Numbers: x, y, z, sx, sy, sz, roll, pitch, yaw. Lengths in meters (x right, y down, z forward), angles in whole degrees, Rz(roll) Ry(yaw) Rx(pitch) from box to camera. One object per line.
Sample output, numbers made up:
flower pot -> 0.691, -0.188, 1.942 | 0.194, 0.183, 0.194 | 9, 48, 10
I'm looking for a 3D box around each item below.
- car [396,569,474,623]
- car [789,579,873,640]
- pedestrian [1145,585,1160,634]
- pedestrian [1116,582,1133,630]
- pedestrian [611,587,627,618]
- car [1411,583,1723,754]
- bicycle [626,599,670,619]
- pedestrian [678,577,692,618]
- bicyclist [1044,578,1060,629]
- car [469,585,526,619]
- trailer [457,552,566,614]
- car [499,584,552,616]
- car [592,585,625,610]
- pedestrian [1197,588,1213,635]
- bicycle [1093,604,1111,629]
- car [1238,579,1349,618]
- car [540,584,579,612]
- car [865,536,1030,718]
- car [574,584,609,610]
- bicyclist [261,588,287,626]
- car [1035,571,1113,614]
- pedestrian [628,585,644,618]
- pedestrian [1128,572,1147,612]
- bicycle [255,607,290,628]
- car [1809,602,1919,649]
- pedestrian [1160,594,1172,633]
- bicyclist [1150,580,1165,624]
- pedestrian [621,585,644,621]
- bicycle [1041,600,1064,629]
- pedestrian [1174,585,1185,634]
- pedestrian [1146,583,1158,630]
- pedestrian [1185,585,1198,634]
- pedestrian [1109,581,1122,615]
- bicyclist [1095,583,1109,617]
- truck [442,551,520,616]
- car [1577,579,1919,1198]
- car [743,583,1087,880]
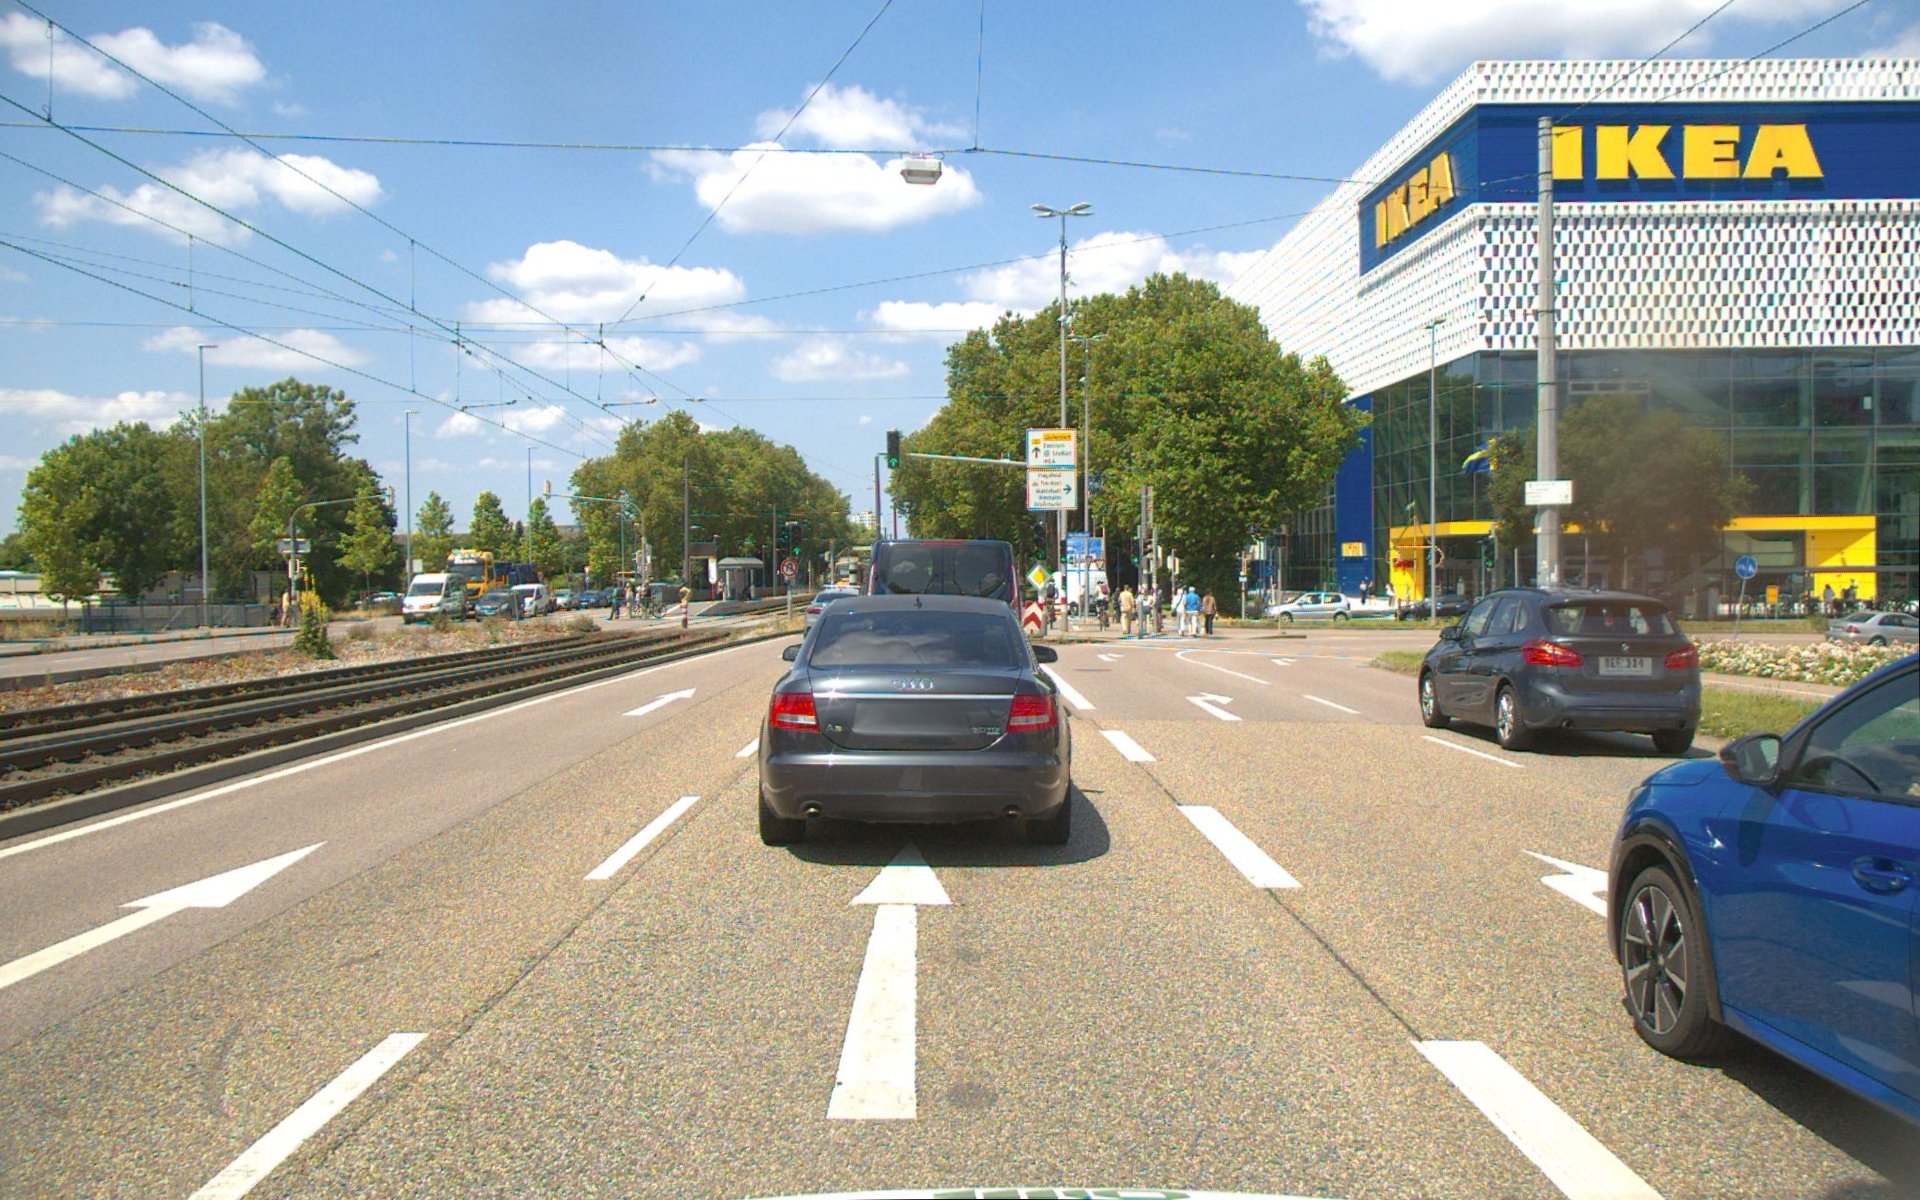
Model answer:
car -> -27.585, -0.264, 87.161 | 2.198, 2.634, 6.233 | -2, 1, -2
car -> -3.445, 0.222, 44.808 | 1.953, 1.512, 4.000 | 2, 1, -1
pedestrian -> 6.593, 0.309, 56.666 | 0.435, 1.663, 0.430 | 1, 0, 2
pedestrian -> 5.676, 0.212, 57.131 | 0.542, 1.663, 0.433 | 1, 0, 2
pedestrian -> -16.410, 0.134, 79.520 | 0.671, 1.468, 0.572 | 0, 0, -4
car -> 6.081, 0.604, 17.084 | 1.725, 1.553, 4.099 | 0, 1, 0
bicycle -> -14.832, 0.424, 78.689 | 2.019, 0.941, 0.751 | 0, 0, -11
pedestrian -> -13.739, -0.126, 82.645 | 0.672, 2.049, 0.572 | 0, 0, -5
bicyclist -> 3.354, 0.130, 60.188 | 0.518, 1.820, 1.088 | 0, 0, 0
car -> -24.211, 0.065, 86.737 | 1.785, 1.699, 4.461 | 1, 1, -1
trailer -> -27.853, -1.027, 103.734 | 2.711, 3.580, 15.875 | 0, 0, -1
car -> -24.627, -0.019, 93.913 | 1.785, 1.699, 4.462 | 1, 1, 1
car -> -27.796, -0.235, 130.752 | 1.781, 1.916, 3.999 | 0, 0, -1
pedestrian -> 8.841, 0.414, 59.725 | 0.510, 1.699, 0.494 | 1, 0, 2
bicycle -> 5.178, 0.599, 60.319 | 0.538, 0.892, 1.698 | 1, 0, 1
car -> 14.250, -0.072, 70.872 | 4.403, 1.512, 2.001 | 2, 1, 3
car -> -27.893, -0.170, 115.235 | 1.781, 1.916, 3.999 | 0, 0, -1
car -> -0.167, 0.290, 20.100 | 1.799, 1.984, 3.999 | 0, 0, -1
car -> -27.796, -0.212, 124.884 | 1.781, 1.916, 3.999 | 0, 0, -1
bicyclist -> -32.666, 0.347, 78.759 | 1.097, 1.805, 0.340 | 1, 0, -6
car -> 6.383, -0.440, 93.174 | 1.975, 2.349, 4.722 | 0, 0, -32
pedestrian -> -15.786, 0.080, 80.641 | 0.671, 1.592, 0.572 | 0, 0, -4
pedestrian -> 8.278, -0.377, 76.968 | 0.671, 1.878, 0.706 | 1, 0, 25
bicycle -> -32.763, 0.841, 78.800 | 1.461, 1.004, 0.485 | 1, 0, -5
car -> 32.606, 0.905, 58.634 | 4.079, 1.512, 1.995 | 1, 1, -12
pedestrian -> 7.059, 0.446, 56.569 | 0.365, 1.326, 0.365 | 1, 0, 2
bicyclist -> 8.115, 0.064, 68.057 | 0.517, 1.795, 0.828 | 0, 0, 13
pedestrian -> -16.297, 0.158, 82.295 | 0.806, 1.750, 0.775 | 1, 0, 21
bicycle -> 3.350, 0.510, 60.180 | 0.673, 1.011, 2.751 | 1, 1, 0
pedestrian -> 7.513, 0.337, 56.553 | 0.314, 1.663, 0.377 | 1, 0, 2
pedestrian -> 6.736, 0.228, 58.069 | 0.373, 1.663, 0.377 | 1, 0, 2
pedestrian -> 7.914, 0.319, 56.515 | 0.389, 1.663, 0.371 | 1, 0, 2
pedestrian -> 7.251, -0.103, 77.165 | 0.483, 1.546, 0.707 | 1, 0, 17
bicyclist -> 5.202, -0.006, 60.448 | 0.461, 1.214, 0.791 | 0, 0, 1
truck -> -27.730, -0.927, 95.960 | 2.711, 3.631, 6.439 | 0, 0, -1
car -> 3.220, 0.717, 4.128 | 1.800, 1.480, 4.000 | 2, 1, -1
car -> -0.303, 0.658, 10.576 | 1.756, 1.480, 3.999 | -1, 1, -2
